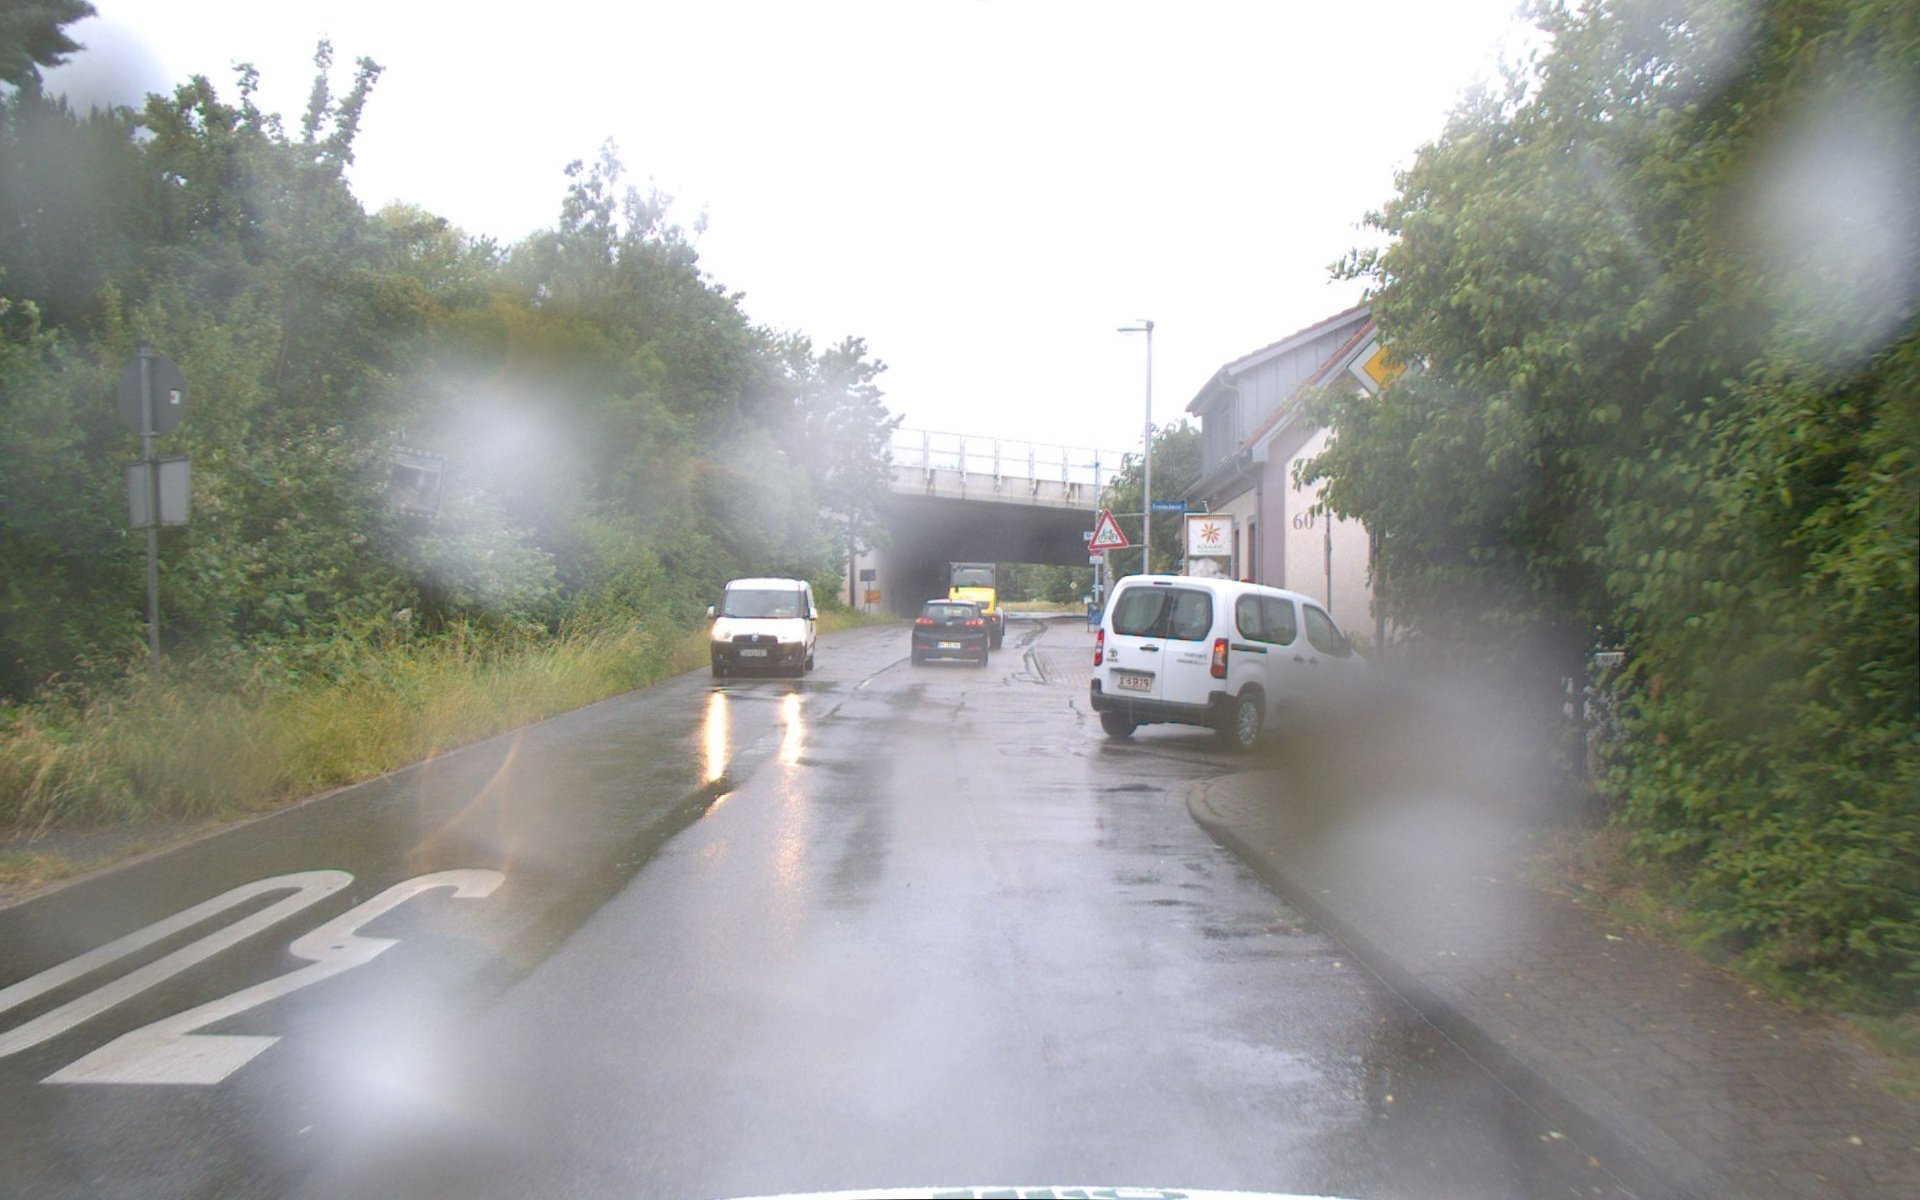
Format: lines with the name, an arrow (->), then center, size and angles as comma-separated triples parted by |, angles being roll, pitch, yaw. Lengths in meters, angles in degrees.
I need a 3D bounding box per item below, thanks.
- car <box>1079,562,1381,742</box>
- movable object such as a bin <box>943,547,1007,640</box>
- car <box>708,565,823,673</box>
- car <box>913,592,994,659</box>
car -> 3.208, 0.507, 19.050 | 1.865, 1.838, 3.985 | 1, 1, 36
movable object such as a bin -> 0.487, -0.185, 49.686 | 1.725, 2.592, 4.240 | 2, 0, 2
car -> -3.638, 0.333, 31.588 | 1.787, 1.864, 4.305 | 2, 0, -2
car -> -0.100, 0.564, 37.925 | 1.673, 1.401, 4.001 | 2, 0, 2
